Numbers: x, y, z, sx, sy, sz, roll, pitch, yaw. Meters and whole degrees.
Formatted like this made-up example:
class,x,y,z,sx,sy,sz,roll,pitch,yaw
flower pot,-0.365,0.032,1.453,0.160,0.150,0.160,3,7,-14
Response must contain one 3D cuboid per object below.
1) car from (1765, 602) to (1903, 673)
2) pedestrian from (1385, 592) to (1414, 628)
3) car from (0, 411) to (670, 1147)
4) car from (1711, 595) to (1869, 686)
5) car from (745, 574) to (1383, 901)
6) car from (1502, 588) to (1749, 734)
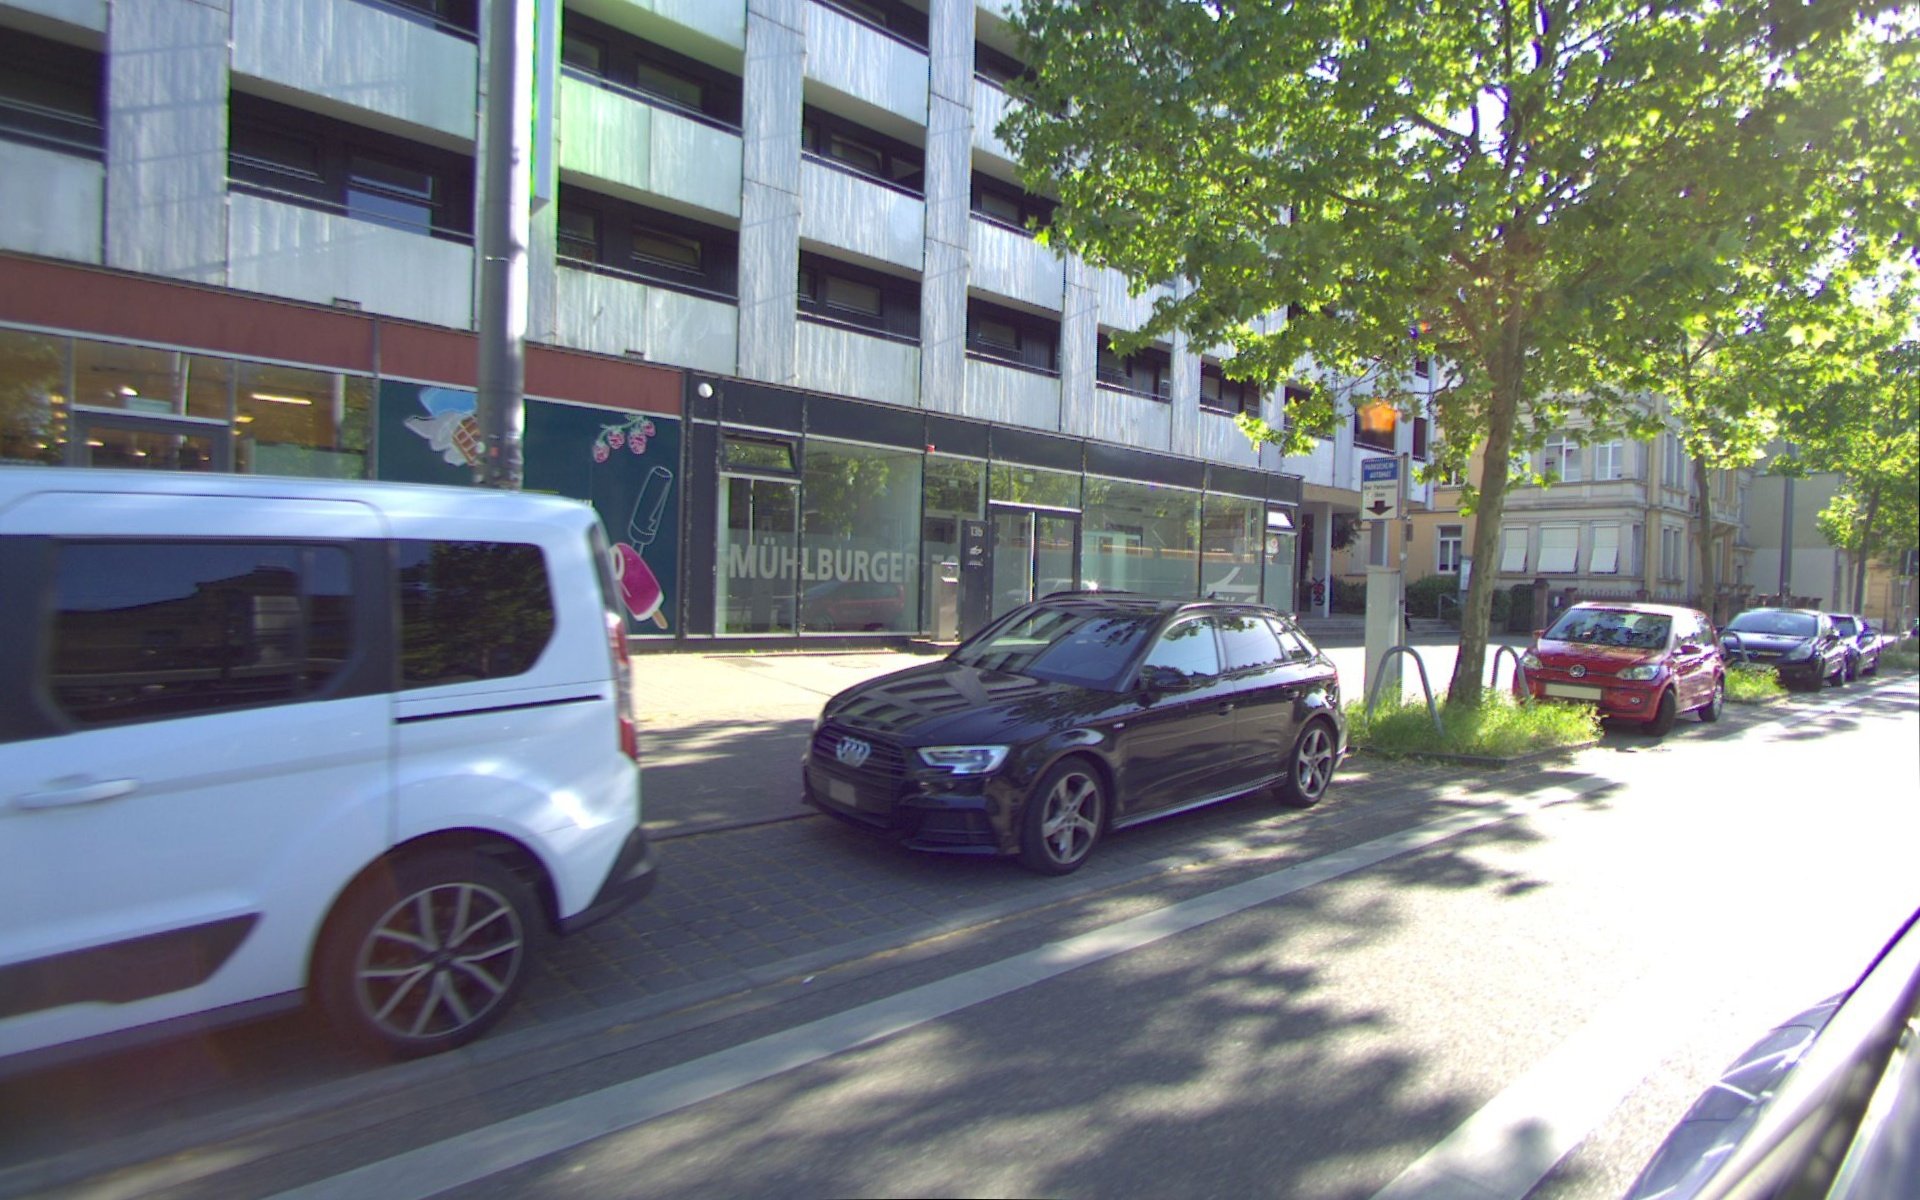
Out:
class,x,y,z,sx,sy,sz,roll,pitch,yaw
car,19.865,0.773,22.949,4.201,1.399,1.780,0,1,-41
pedestrian,14.068,0.306,32.391,0.672,1.123,0.560,0,2,-40
car,-3.254,0.405,2.874,4.315,1.814,1.768,0,2,-40
car,15.743,0.687,19.137,3.861,1.459,1.629,0,3,-41
car,0.909,0.608,6.647,4.220,1.420,1.732,0,3,-41
car,8.504,0.643,12.832,3.627,1.455,1.676,-1,5,-42
